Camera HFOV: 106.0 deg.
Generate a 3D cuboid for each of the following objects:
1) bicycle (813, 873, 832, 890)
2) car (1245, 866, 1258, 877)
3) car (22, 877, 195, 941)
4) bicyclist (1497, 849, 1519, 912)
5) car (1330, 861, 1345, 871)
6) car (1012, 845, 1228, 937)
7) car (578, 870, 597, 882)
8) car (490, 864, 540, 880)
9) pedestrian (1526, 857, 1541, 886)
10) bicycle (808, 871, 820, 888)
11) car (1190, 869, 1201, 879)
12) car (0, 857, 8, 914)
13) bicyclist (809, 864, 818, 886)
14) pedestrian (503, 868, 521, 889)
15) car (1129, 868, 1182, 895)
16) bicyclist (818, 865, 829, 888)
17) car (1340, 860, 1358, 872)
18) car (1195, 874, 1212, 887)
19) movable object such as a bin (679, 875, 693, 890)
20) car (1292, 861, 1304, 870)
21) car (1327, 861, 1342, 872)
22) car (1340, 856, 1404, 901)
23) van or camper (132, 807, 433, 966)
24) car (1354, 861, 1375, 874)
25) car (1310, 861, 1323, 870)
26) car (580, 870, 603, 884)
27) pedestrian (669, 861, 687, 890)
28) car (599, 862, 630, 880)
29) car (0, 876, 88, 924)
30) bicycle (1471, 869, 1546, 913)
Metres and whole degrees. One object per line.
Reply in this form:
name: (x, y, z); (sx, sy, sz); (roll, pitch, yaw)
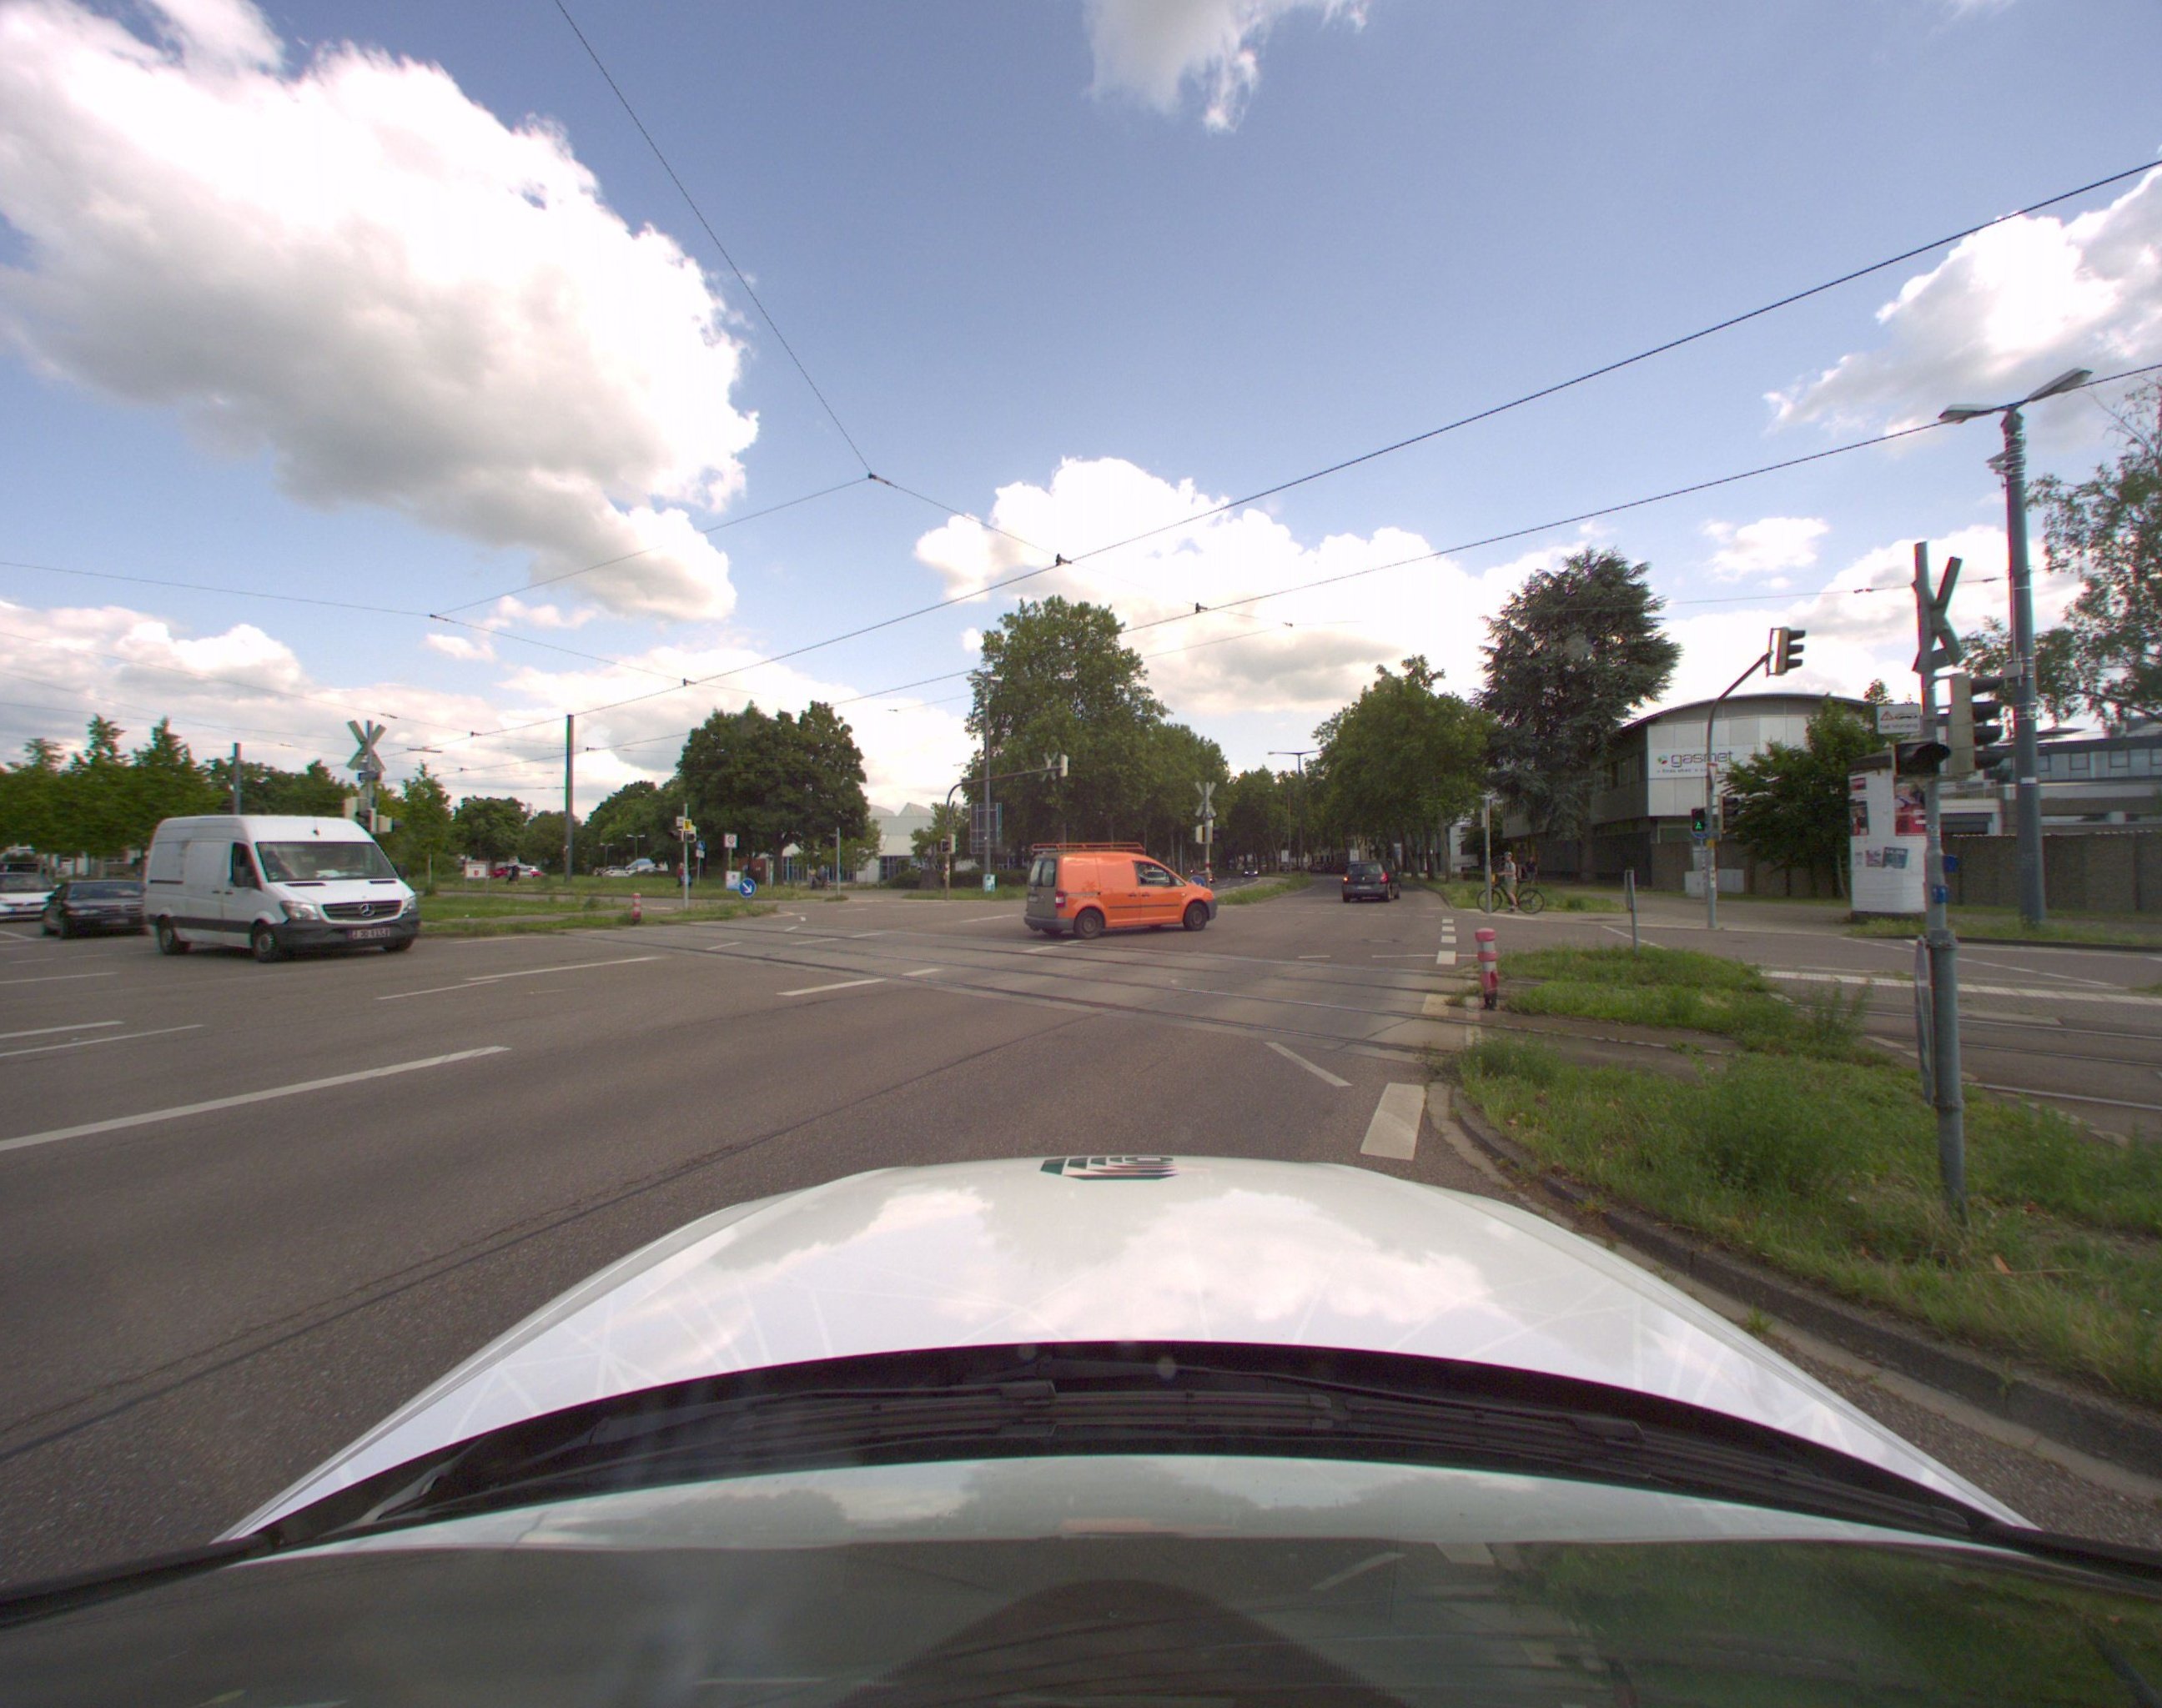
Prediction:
bicycle: (-17.506, 1.848, 55.246); (1.362, 1.130, 0.566); (-1, -1, 39)
car: (23.145, 2.379, 110.710); (1.645, 1.271, 3.783); (-1, 1, 11)
car: (-24.266, 1.334, 20.298); (4.413, 1.431, 1.822); (-2, -2, 27)
bicyclist: (12.575, 0.766, 23.985); (0.538, 1.809, 0.544); (-1, 1, 31)
car: (44.551, 2.083, 141.425); (1.981, 1.574, 4.012); (-1, 1, 11)
car: (0.882, 0.731, 17.738); (4.381, 1.800, 1.867); (0, -1, -28)
car: (-71.865, 3.144, 118.575); (2.009, 1.640, 4.342); (0, -1, -36)
car: (-55.516, 1.756, 79.925); (4.018, 1.530, 1.978); (0, -1, -36)
pedestrian: (25.073, 0.976, 45.142); (0.615, 1.569, 0.562); (-1, 1, 22)
bicycle: (-18.918, 1.801, 57.625); (0.564, 1.130, 1.367); (0, -1, -29)
car: (23.304, 4.129, 165.544); (1.985, 2.014, 4.003); (0, -1, 3)
car: (-43.287, 1.217, 31.281); (4.327, 2.155, 1.867); (-1, -1, 29)
bicyclist: (-18.914, 1.479, 57.619); (0.488, 1.554, 0.551); (2, -2, -30)
pedestrian: (-37.370, 1.628, 53.504); (0.743, 1.354, 0.655); (-1, 1, 28)
car: (4.038, 1.425, 43.644); (1.810, 1.364, 4.158); (-1, -1, 20)
bicyclist: (-17.507, 1.493, 55.266); (0.549, 1.554, 0.490); (-1, -1, 39)
car: (40.334, 1.843, 122.554); (1.981, 1.574, 4.012); (-1, 1, 11)
car: (12.168, 2.630, 80.640); (1.625, 1.192, 3.717); (0, -1, 9)
movable object such as a bin: (-22.828, 1.627, 47.055); (0.455, 0.811, 0.581); (-1, 1, 13)
car: (45.528, 2.429, 170.982); (1.981, 1.574, 4.012); (-1, 1, 11)
car: (40.767, 2.044, 131.029); (1.981, 1.574, 4.012); (-1, 1, 11)
car: (11.543, 0.958, 32.186); (1.714, 1.630, 4.077); (-2, -2, 28)
van or camper: (-14.890, 0.538, 15.120); (5.962, 2.524, 1.994); (-1, 1, 25)
car: (38.558, 1.865, 110.830); (1.981, 1.574, 4.012); (-1, 1, 11)
car: (45.511, 2.142, 157.347); (1.981, 1.574, 4.012); (-1, 1, 11)
car: (-60.847, 2.807, 101.184); (2.009, 1.640, 4.342); (0, -1, -36)
pedestrian: (-23.357, 1.230, 47.181); (0.631, 1.644, 0.615); (-1, 1, 14)
car: (-43.136, 1.554, 75.233); (2.009, 1.640, 4.342); (0, -1, -36)
car: (-34.335, 1.444, 26.474); (4.327, 1.431, 1.822); (-1, -1, 29)
bicycle: (12.584, 1.071, 23.991); (1.927, 1.235, 0.544); (-1, 1, 31)
